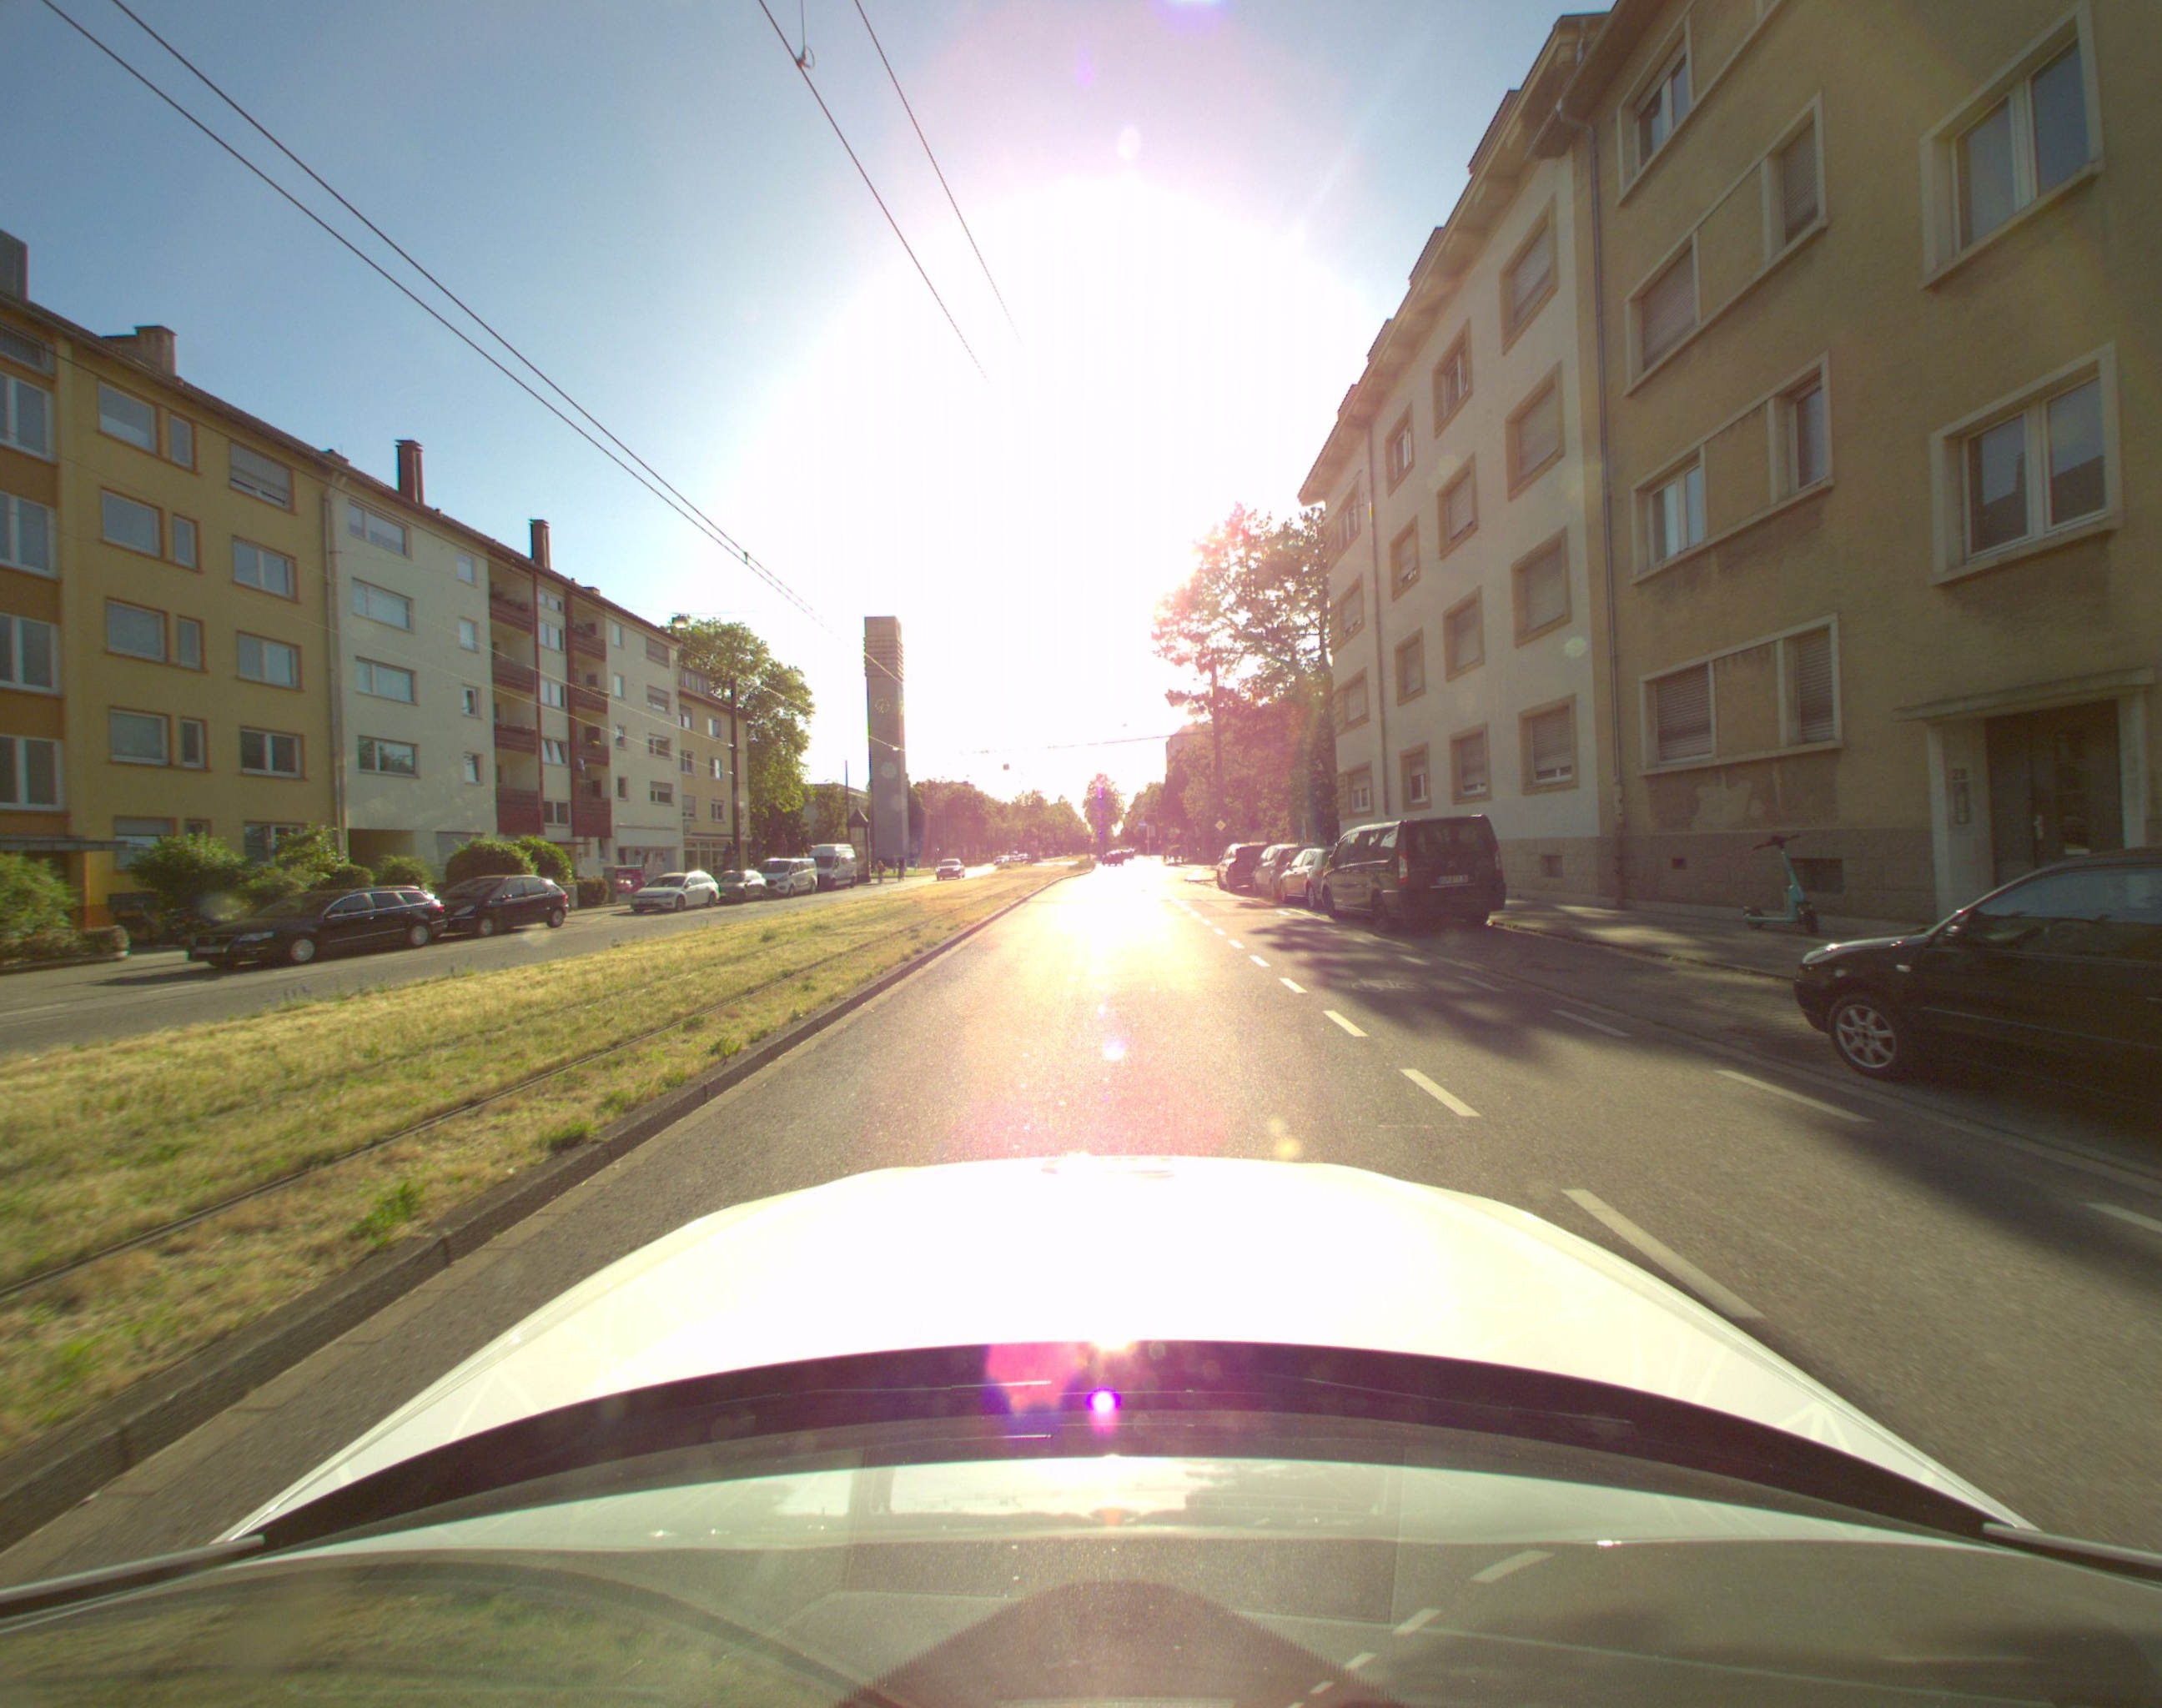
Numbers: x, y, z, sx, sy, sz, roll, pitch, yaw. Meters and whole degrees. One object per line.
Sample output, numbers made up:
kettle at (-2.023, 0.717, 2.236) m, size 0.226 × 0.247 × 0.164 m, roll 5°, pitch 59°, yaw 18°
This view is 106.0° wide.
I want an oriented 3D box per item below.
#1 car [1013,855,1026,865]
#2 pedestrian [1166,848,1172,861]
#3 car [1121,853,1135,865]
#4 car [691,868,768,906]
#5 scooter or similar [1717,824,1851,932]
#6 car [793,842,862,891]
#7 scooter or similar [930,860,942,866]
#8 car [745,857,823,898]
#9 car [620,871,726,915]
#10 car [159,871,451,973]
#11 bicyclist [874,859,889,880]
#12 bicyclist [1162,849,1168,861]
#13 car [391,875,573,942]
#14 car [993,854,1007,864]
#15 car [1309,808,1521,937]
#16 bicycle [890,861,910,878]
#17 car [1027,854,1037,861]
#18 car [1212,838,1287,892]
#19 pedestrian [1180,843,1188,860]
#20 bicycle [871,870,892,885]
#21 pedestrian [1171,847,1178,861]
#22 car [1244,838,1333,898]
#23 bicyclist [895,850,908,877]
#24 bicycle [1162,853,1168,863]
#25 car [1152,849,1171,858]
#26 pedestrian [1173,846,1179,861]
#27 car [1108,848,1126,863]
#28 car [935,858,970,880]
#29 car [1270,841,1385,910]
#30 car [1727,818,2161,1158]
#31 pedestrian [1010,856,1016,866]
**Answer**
car at (-10.268, 1.042, 136.427) m, size 1.681 × 1.533 × 4.363 m, roll -2°, pitch 0°, yaw 2°
pedestrian at (10.257, 0.030, 95.271) m, size 0.642 × 1.522 × 0.498 m, roll 0°, pitch 0°, yaw 14°
car at (7.250, 0.772, 126.164) m, size 1.962 × 1.860 × 4.000 m, roll 0°, pitch 0°, yaw 0°
car at (-16.162, 1.478, 37.658) m, size 1.689 × 1.515 × 4.324 m, roll -1°, pitch 0°, yaw -1°
scooter or similar at (8.852, 0.285, 10.316) m, size 0.457 × 1.238 × 1.339 m, roll -6°, pitch 0°, yaw 2°
car at (-15.779, 0.710, 51.080) m, size 2.024 × 2.868 × 6.232 m, roll -1°, pitch 0°, yaw 3°
scooter or similar at (-21.140, 1.310, 118.752) m, size 1.737 × 0.899 × 0.561 m, roll -2°, pitch 0°, yaw -14°
car at (-15.988, 1.204, 44.156) m, size 2.024 × 2.021 × 5.374 m, roll 0°, pitch 0°, yaw 3°
car at (-16.262, 1.520, 32.745) m, size 1.886 × 1.491 × 4.702 m, roll 0°, pitch 0°, yaw 0°
car at (-16.824, 1.366, 18.092) m, size 1.986 × 1.838 × 4.611 m, roll 0°, pitch 0°, yaw 2°
bicyclist at (-13.397, 1.057, 54.783) m, size 0.770 × 1.384 × 0.648 m, roll -3°, pitch 0°, yaw 1°
bicyclist at (9.007, 0.131, 87.740) m, size 0.635 × 1.323 × 0.804 m, roll 0°, pitch 0°, yaw 4°
car at (-16.804, 1.460, 23.162) m, size 1.986 × 1.607 × 4.153 m, roll 0°, pitch 0°, yaw 2°
car at (-13.467, 0.894, 135.377) m, size 1.800 × 1.533 × 4.363 m, roll -2°, pitch 0°, yaw 2°
car at (6.049, 0.287, 15.578) m, size 1.906 × 1.899 × 5.136 m, roll -5°, pitch 0°, yaw 1°
bicycle at (-13.592, 1.176, 61.294) m, size 0.765 × 1.146 × 2.476 m, roll -4°, pitch 0°, yaw 2°
car at (-9.512, 0.706, 158.972) m, size 1.560 × 1.402 × 3.917 m, roll 0°, pitch 0°, yaw 2°
car at (6.199, 0.367, 30.511) m, size 1.871 × 1.716 × 4.937 m, roll -5°, pitch 0°, yaw 3°
pedestrian at (10.876, -0.266, 85.610) m, size 0.699 × 1.789 × 0.695 m, roll -5°, pitch 1°, yaw 7°
bicycle at (-13.386, 1.599, 54.738) m, size 0.765 × 0.879 × 2.070 m, roll -4°, pitch 0°, yaw 2°
pedestrian at (10.900, -0.015, 95.206) m, size 0.724 × 1.682 × 0.535 m, roll 0°, pitch 0°, yaw 14°
car at (6.304, 0.398, 25.153) m, size 1.589 × 1.578 × 3.894 m, roll -4°, pitch 0°, yaw -1°
bicyclist at (-13.524, 0.739, 61.369) m, size 0.770 × 2.013 × 0.648 m, roll 0°, pitch 0°, yaw 1°
bicycle at (9.018, 0.427, 87.800) m, size 0.645 × 0.972 × 1.806 m, roll 0°, pitch 0°, yaw 5°
car at (17.441, -0.044, 176.757) m, size 3.960 × 1.860 × 2.018 m, roll 0°, pitch 0°, yaw 12°
pedestrian at (9.988, -0.057, 85.754) m, size 0.526 × 1.528 × 0.629 m, roll -4°, pitch 0°, yaw 7°
car at (3.809, 0.155, 86.728) m, size 1.689 × 1.508 × 3.698 m, roll 0°, pitch 0°, yaw 0°
car at (-9.426, 1.064, 60.002) m, size 1.687 × 1.448 × 4.220 m, roll -4°, pitch 0°, yaw 3°
car at (6.137, 0.482, 20.744) m, size 1.506 × 1.478 × 4.236 m, roll -4°, pitch 0°, yaw -1°
car at (5.672, 0.584, 4.227) m, size 1.629 × 1.453 × 3.791 m, roll -5°, pitch 0°, yaw 2°
pedestrian at (-10.725, 1.134, 128.082) m, size 0.887 × 1.606 × 0.614 m, roll 0°, pitch 0°, yaw 1°
